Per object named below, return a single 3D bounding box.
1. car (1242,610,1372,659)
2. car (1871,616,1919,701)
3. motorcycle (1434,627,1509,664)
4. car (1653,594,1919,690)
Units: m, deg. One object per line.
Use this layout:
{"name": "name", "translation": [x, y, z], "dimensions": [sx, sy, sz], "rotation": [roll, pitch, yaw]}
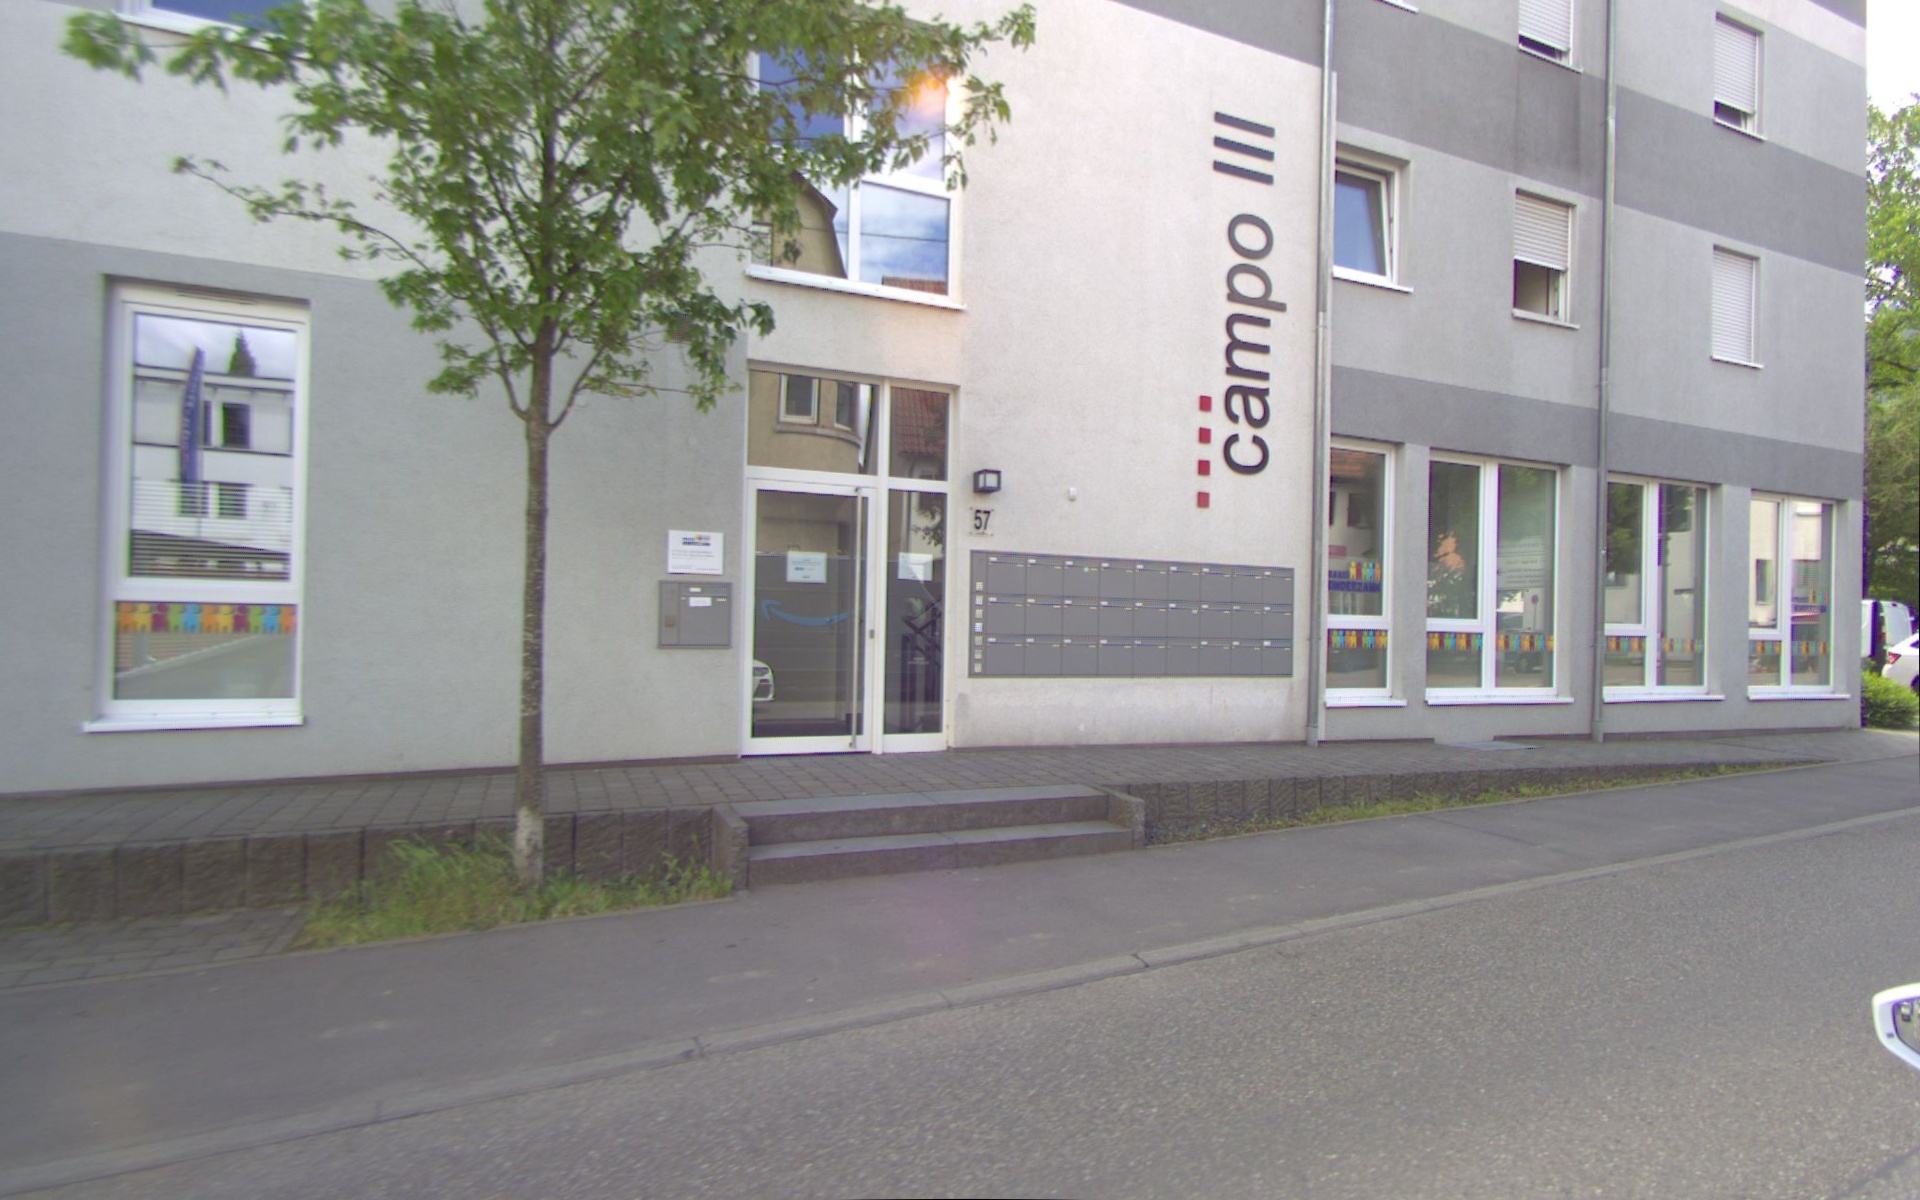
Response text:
{"name": "car", "translation": [12.401, 1.182, 36.102], "dimensions": [2.014, 1.597, 4.126], "rotation": [1, 0, -29]}
{"name": "car", "translation": [19.008, 1.092, 17.574], "dimensions": [1.798, 1.534, 4.196], "rotation": [0, 0, -27]}
{"name": "motorcycle", "translation": [15.517, 1.355, 30.440], "dimensions": [2.319, 1.018, 1.191], "rotation": [1, 0, -40]}
{"name": "car", "translation": [19.506, 0.903, 23.830], "dimensions": [2.070, 2.036, 4.600], "rotation": [1, 0, -29]}
